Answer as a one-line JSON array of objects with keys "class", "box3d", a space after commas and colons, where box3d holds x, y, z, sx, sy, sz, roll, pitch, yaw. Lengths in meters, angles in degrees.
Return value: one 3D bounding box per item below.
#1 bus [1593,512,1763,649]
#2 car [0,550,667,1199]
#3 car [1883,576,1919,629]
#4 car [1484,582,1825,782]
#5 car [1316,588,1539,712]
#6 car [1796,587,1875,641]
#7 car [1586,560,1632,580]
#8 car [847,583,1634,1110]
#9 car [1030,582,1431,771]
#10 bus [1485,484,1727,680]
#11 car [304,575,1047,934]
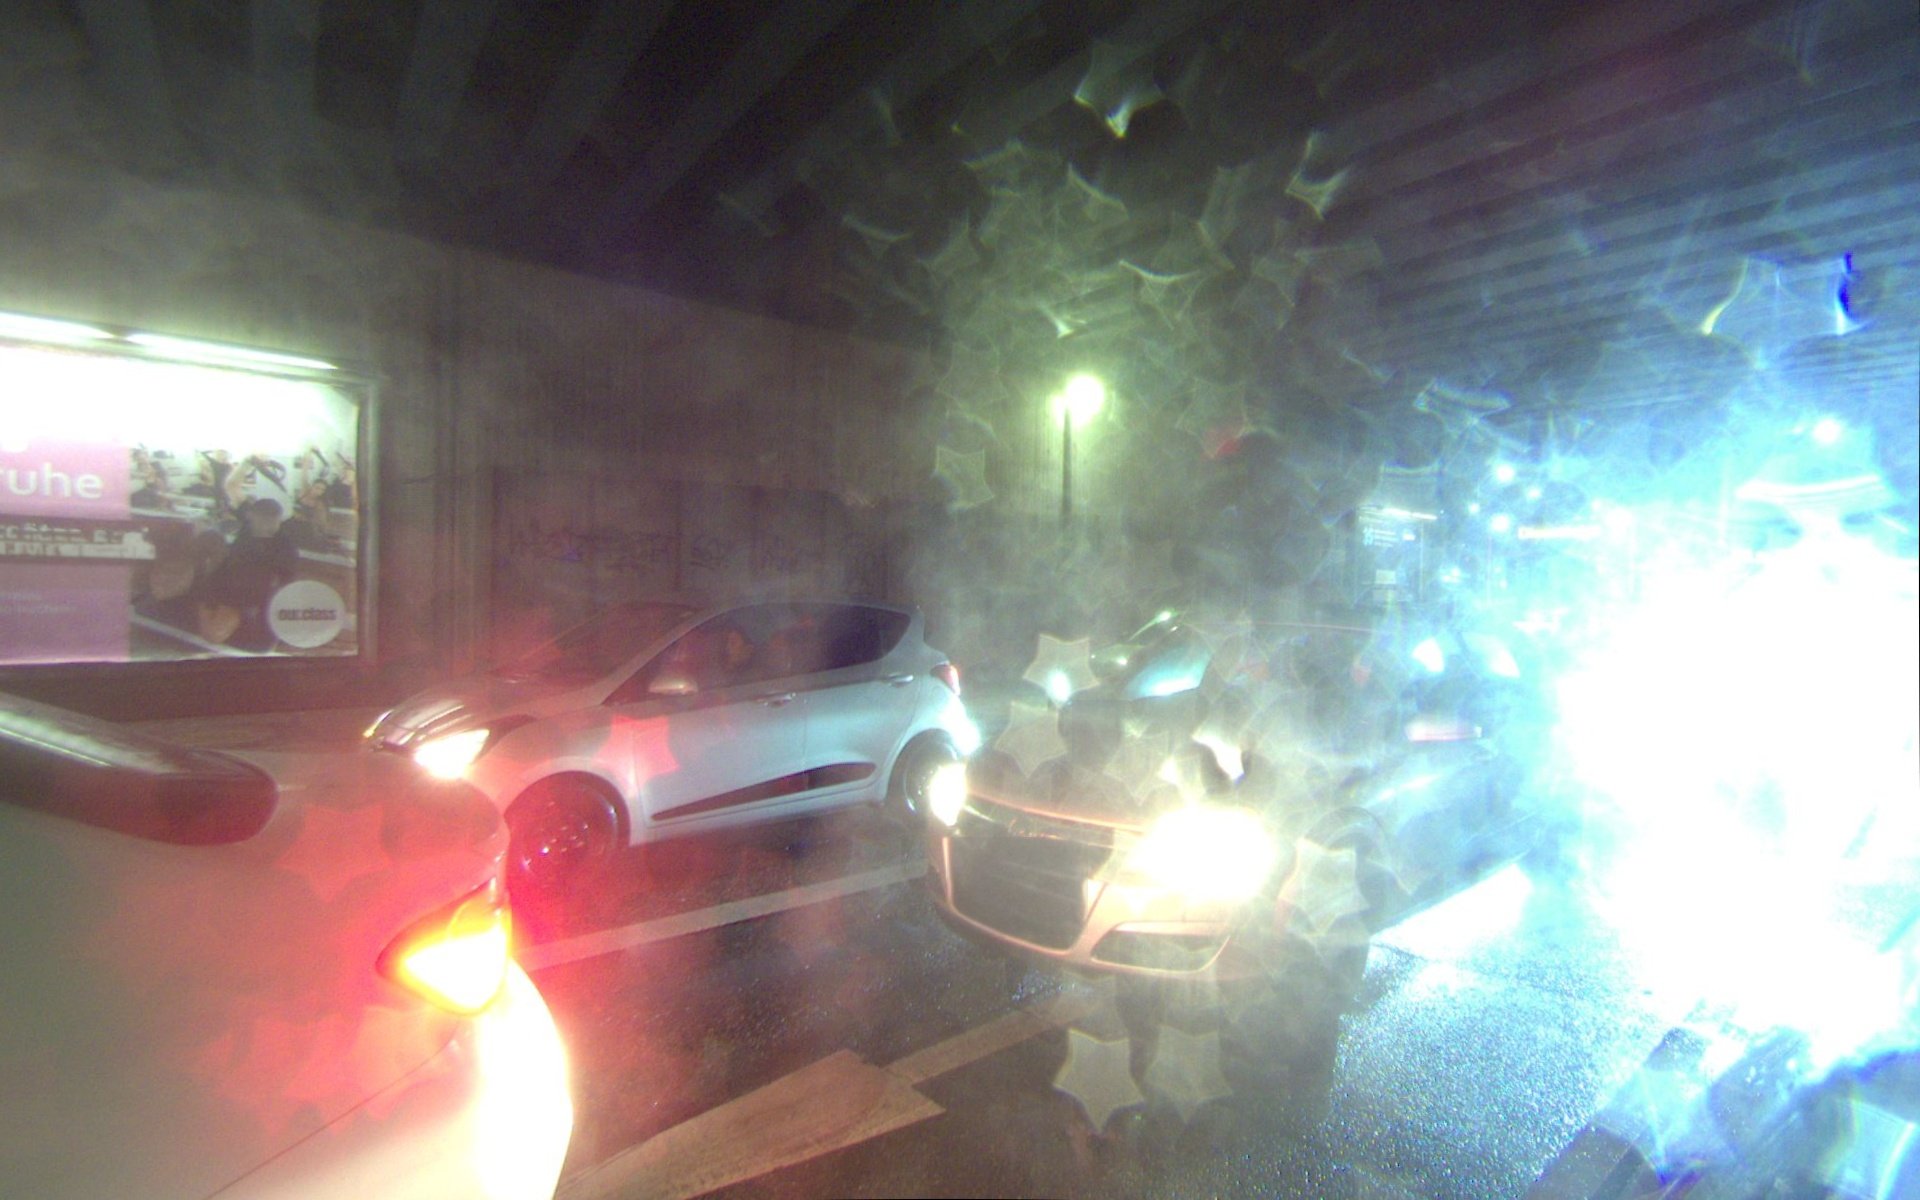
[{"class": "bus", "box3d": [20.526, -0.547, 28.629, 2.733, 3.278, 9.551, 1, 1, 43]}, {"class": "car", "box3d": [-2.688, 0.663, 0.982, 4.308, 1.464, 1.723, -1, 3, -42]}, {"class": "car", "box3d": [33.080, 0.080, 34.879, 1.718, 1.725, 3.915, 3, 3, 41]}, {"class": "car", "box3d": [6.731, 0.626, 9.636, 4.091, 1.506, 1.722, -1, -2, -42]}, {"class": "car", "box3d": [7.035, 0.611, 15.018, 1.721, 1.505, 4.096, 3, 3, 44]}, {"class": "car", "box3d": [26.963, 0.386, 31.253, 1.692, 1.481, 3.917, 3, 3, 40]}, {"class": "car", "box3d": [46.341, -2.138, 72.330, 1.685, 1.407, 3.979, 0, 1, 17]}, {"class": "car", "box3d": [1.623, 0.659, 4.853, 4.091, 1.464, 1.723, -1, 1, -42]}, {"class": "car", "box3d": [2.977, 0.585, 10.462, 4.705, 1.505, 1.723, -1, 2, -42]}, {"class": "bus", "box3d": [14.094, -0.397, 21.598, 2.733, 3.318, 9.551, 1, 1, 43]}, {"class": "car", "box3d": [-1.501, 0.612, 6.260, 4.091, 1.464, 1.723, -1, 3, -42]}]
